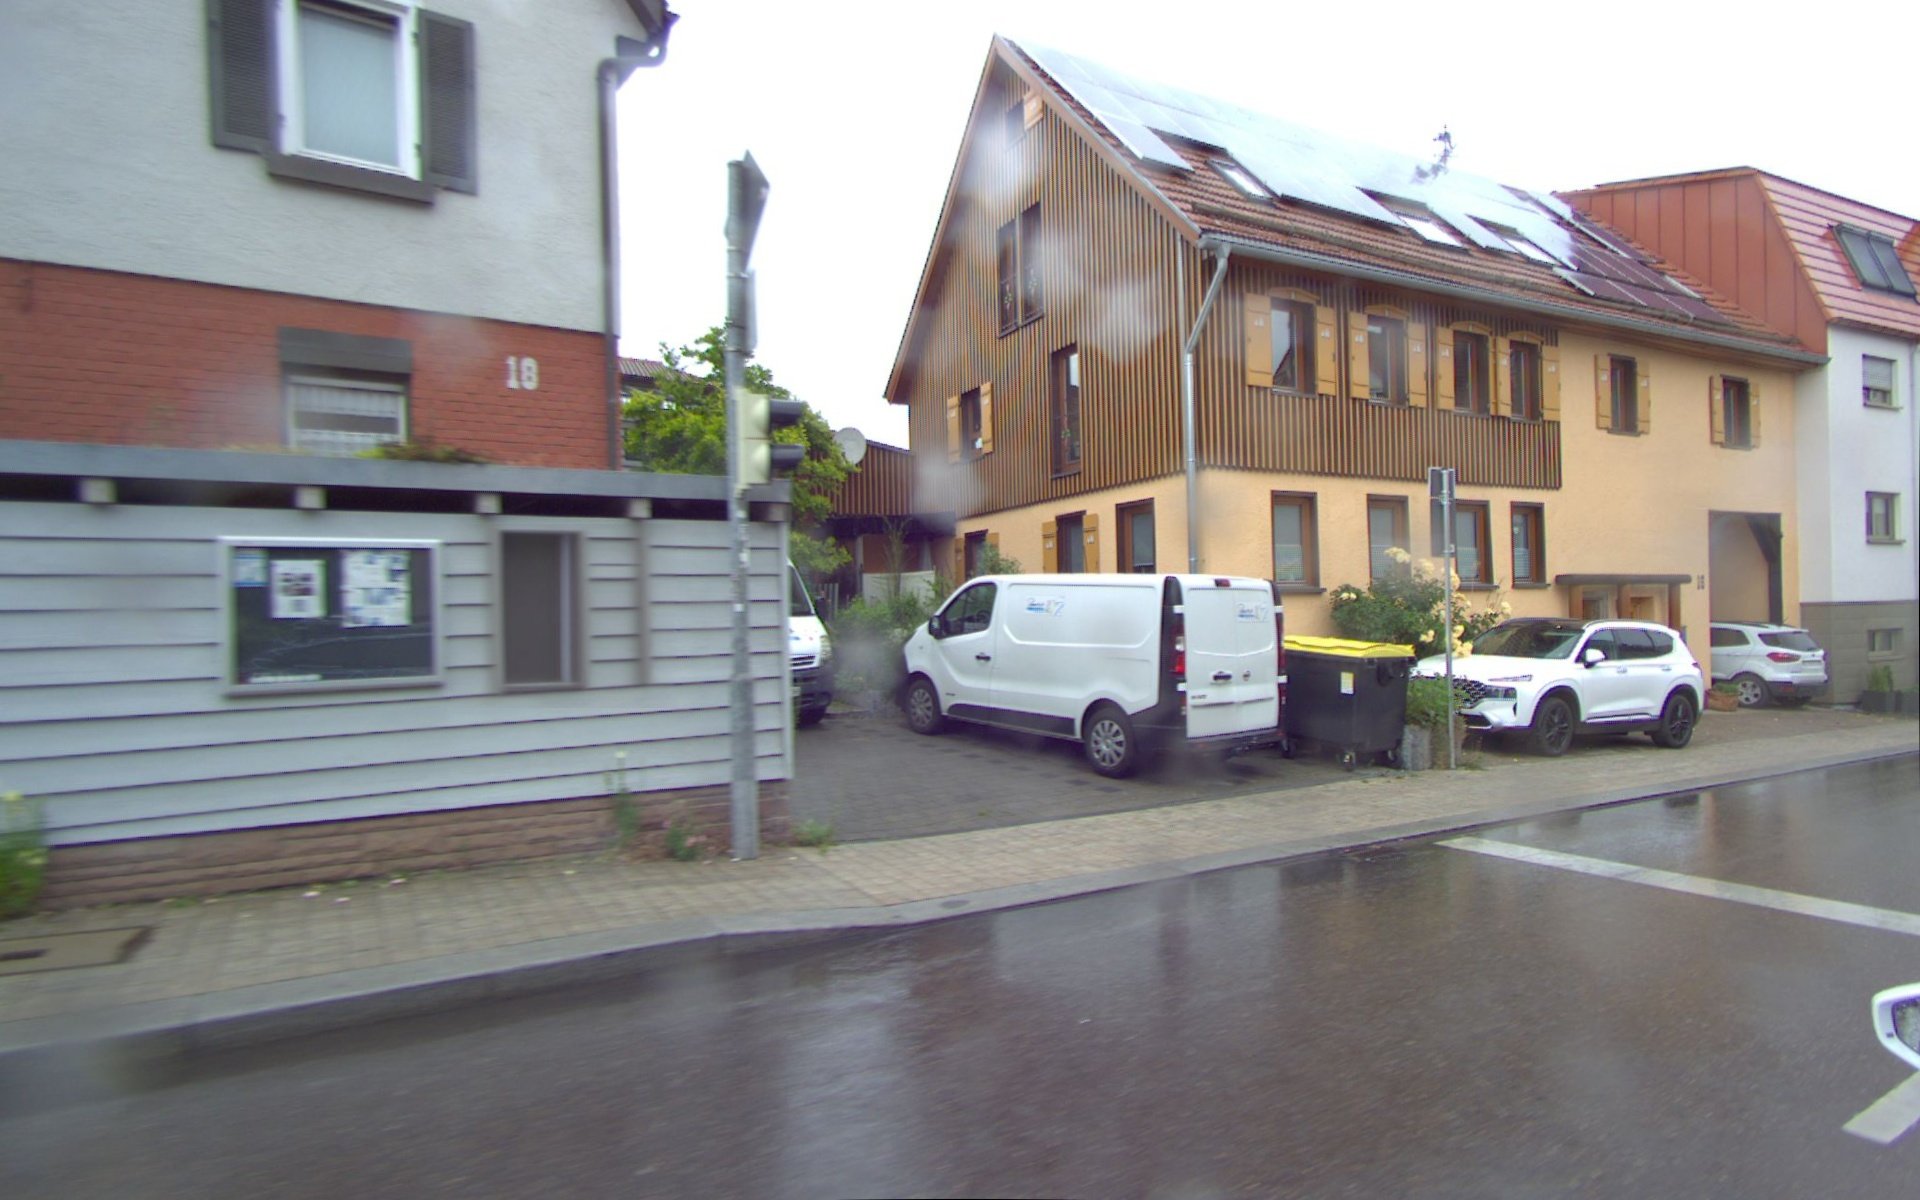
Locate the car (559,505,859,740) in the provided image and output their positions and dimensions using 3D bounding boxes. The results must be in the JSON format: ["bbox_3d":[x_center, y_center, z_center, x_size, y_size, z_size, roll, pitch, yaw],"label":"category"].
[{"bbox_3d":[-3.747,0.224,13.909,2.049,2.561,5.805,1,0,-35],"label":"car"}]

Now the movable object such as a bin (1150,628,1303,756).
[{"bbox_3d":[3.168,1.042,12.034,0.986,1.386,1.497,1,-1,-34],"label":"movable object such as a bin"}]

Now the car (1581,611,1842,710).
[{"bbox_3d":[15.703,1.187,21.228,1.854,1.692,3.973,1,1,-26],"label":"car"}]

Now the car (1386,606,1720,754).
[{"bbox_3d":[8.065,0.990,13.588,4.559,1.728,1.806,1,-2,-28],"label":"car"}]

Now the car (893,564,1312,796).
[{"bbox_3d":[1.364,0.639,11.261,1.983,2.006,4.470,-1,3,-40],"label":"car"}]

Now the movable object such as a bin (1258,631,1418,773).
[{"bbox_3d":[4.101,1.056,10.958,0.986,1.386,1.277,1,0,-34],"label":"movable object such as a bin"}]
